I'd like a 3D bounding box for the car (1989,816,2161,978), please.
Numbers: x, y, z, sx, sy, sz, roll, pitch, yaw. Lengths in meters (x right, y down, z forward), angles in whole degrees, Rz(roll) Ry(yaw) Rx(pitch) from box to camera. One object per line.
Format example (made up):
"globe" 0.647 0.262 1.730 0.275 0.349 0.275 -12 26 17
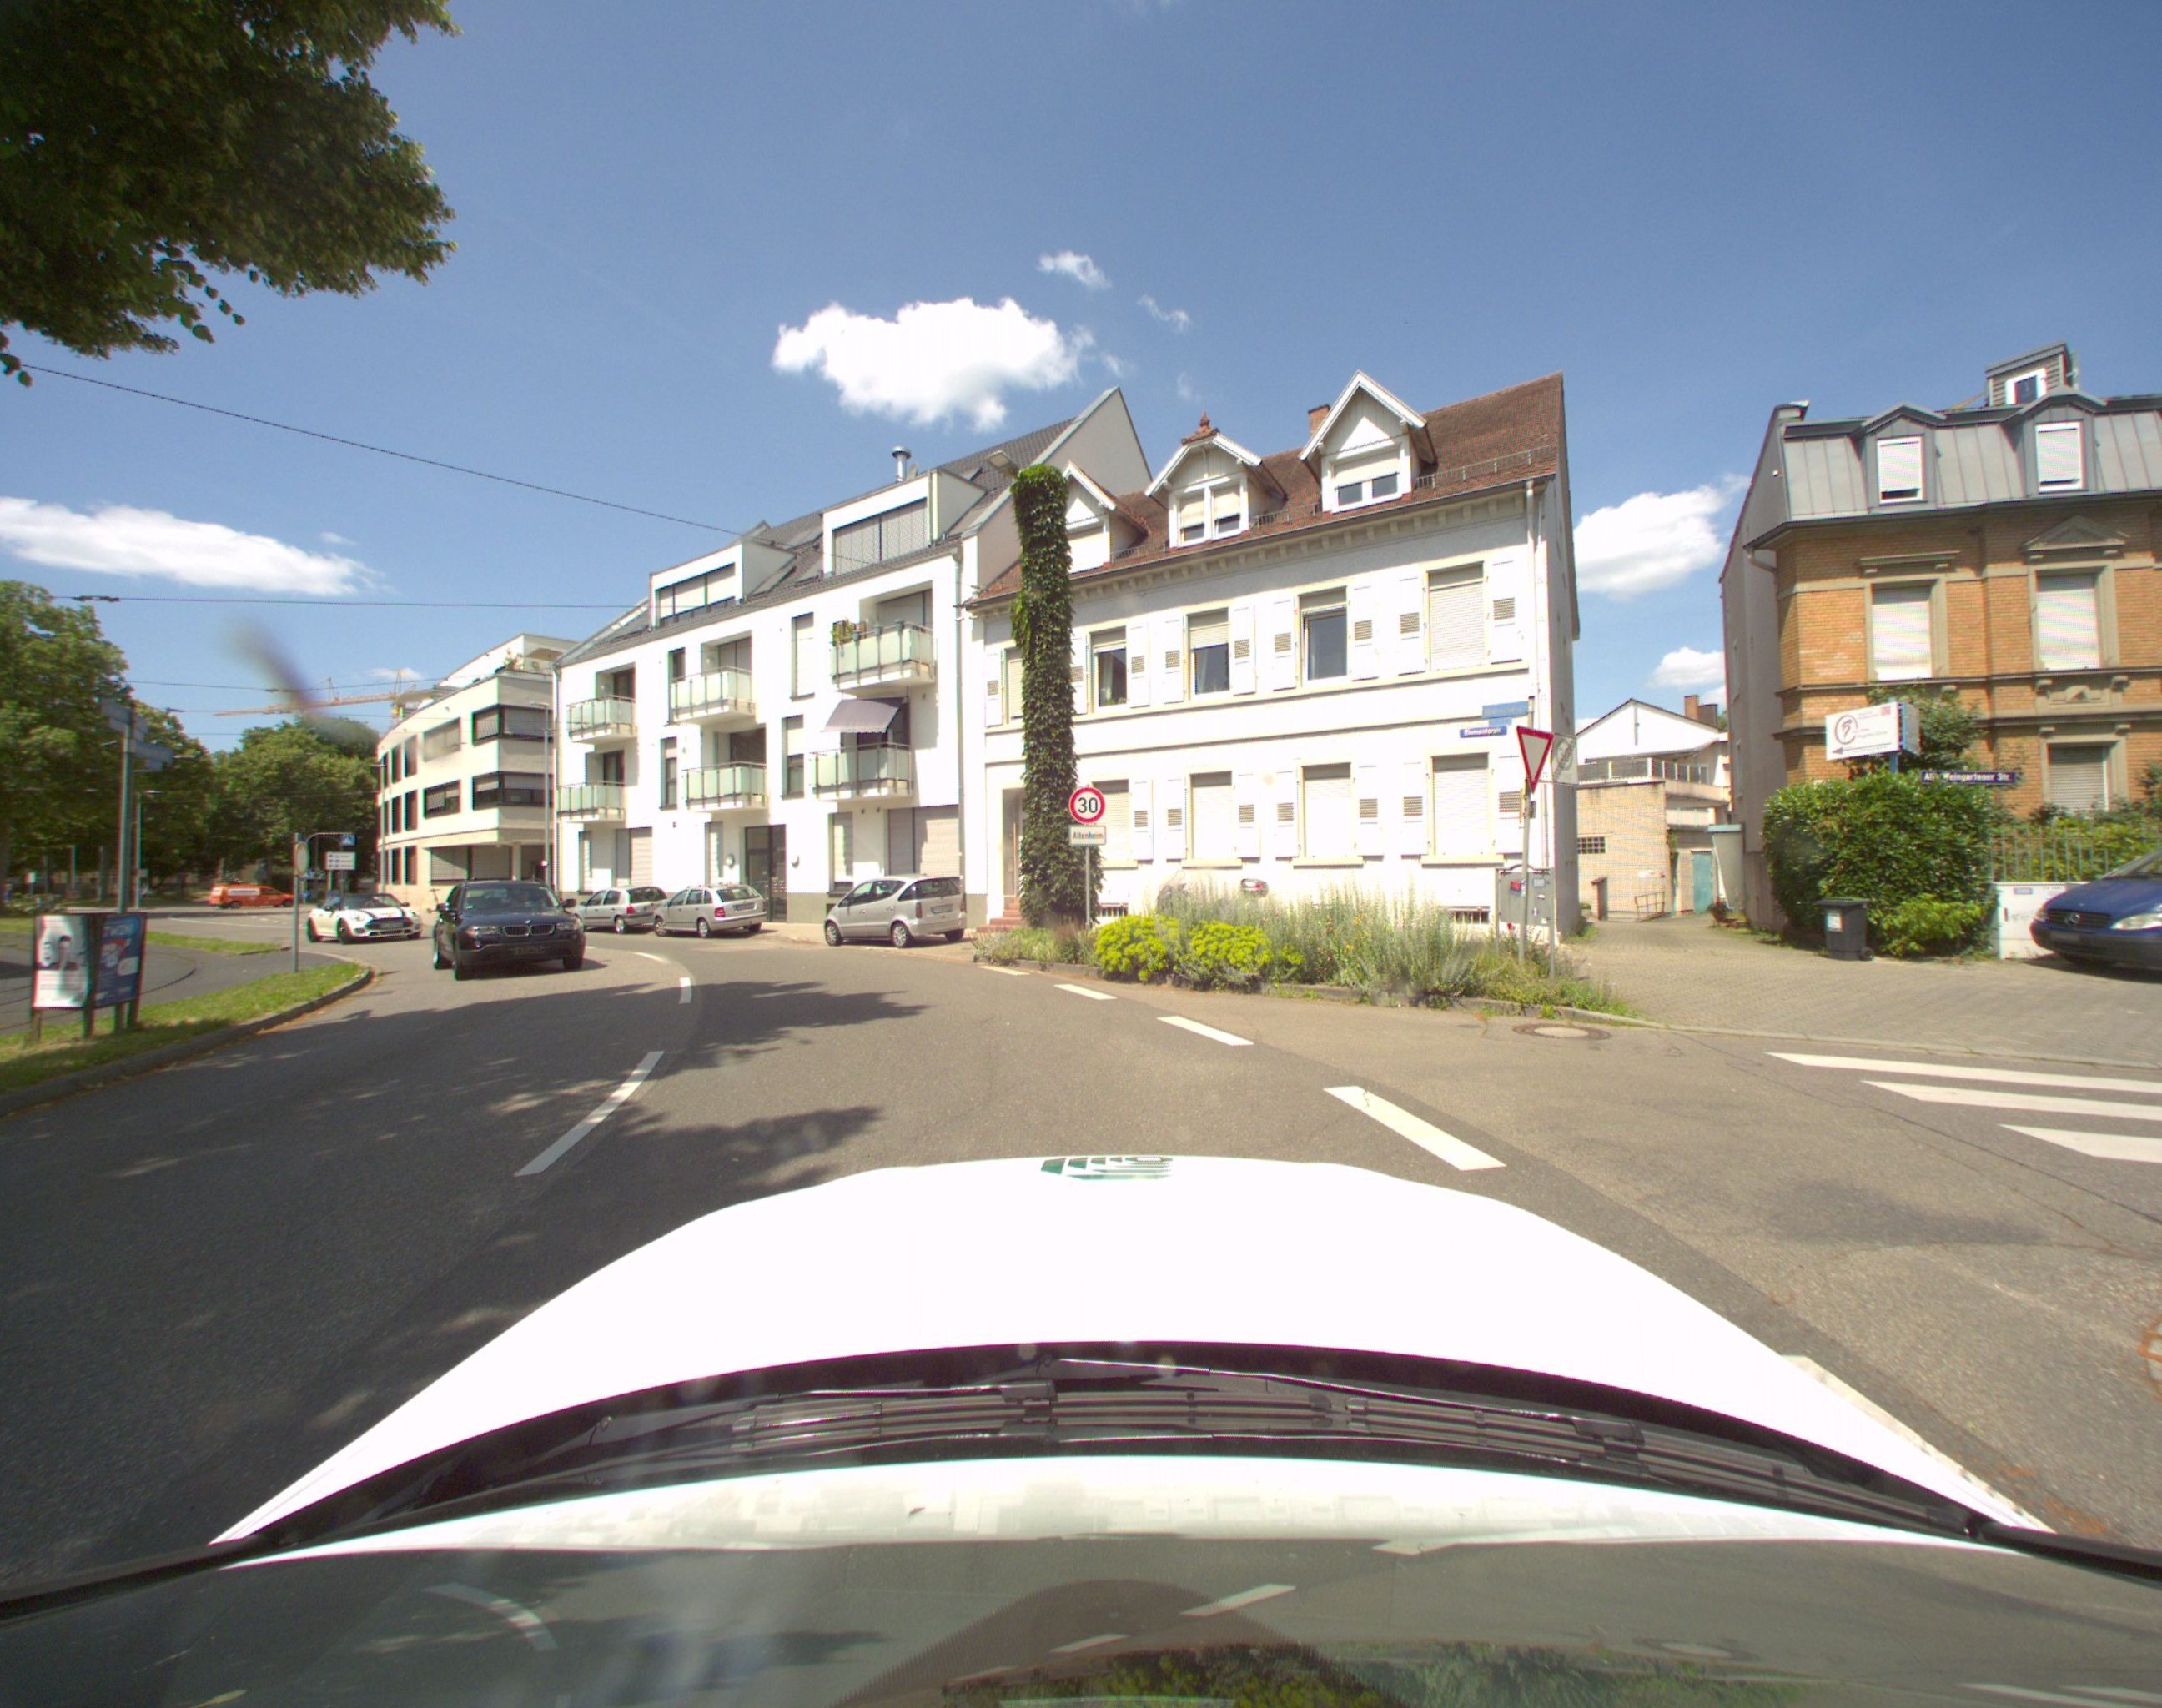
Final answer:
"car" 15.444 0.446 10.125 5.184 1.947 2.093 -2 0 17

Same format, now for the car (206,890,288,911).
"car" -63.923 3.531 62.487 1.630 1.527 4.091 0 -2 30

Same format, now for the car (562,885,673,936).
"car" -14.595 1.742 25.612 3.459 1.357 1.432 -1 3 30

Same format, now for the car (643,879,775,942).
"car" -10.608 1.534 23.150 3.858 1.465 1.672 0 3 36

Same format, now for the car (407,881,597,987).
"car" -10.442 1.319 14.559 4.340 1.552 1.906 -3 -2 43

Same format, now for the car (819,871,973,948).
"car" -4.317 1.217 18.792 3.571 1.587 1.594 -1 -3 40

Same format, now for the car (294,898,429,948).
"car" -20.971 1.950 23.715 3.949 1.244 1.797 0 -2 31

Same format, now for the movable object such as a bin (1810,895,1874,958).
"movable object such as a bin" 11.439 1.080 12.251 0.419 0.916 0.557 2 -2 -16
